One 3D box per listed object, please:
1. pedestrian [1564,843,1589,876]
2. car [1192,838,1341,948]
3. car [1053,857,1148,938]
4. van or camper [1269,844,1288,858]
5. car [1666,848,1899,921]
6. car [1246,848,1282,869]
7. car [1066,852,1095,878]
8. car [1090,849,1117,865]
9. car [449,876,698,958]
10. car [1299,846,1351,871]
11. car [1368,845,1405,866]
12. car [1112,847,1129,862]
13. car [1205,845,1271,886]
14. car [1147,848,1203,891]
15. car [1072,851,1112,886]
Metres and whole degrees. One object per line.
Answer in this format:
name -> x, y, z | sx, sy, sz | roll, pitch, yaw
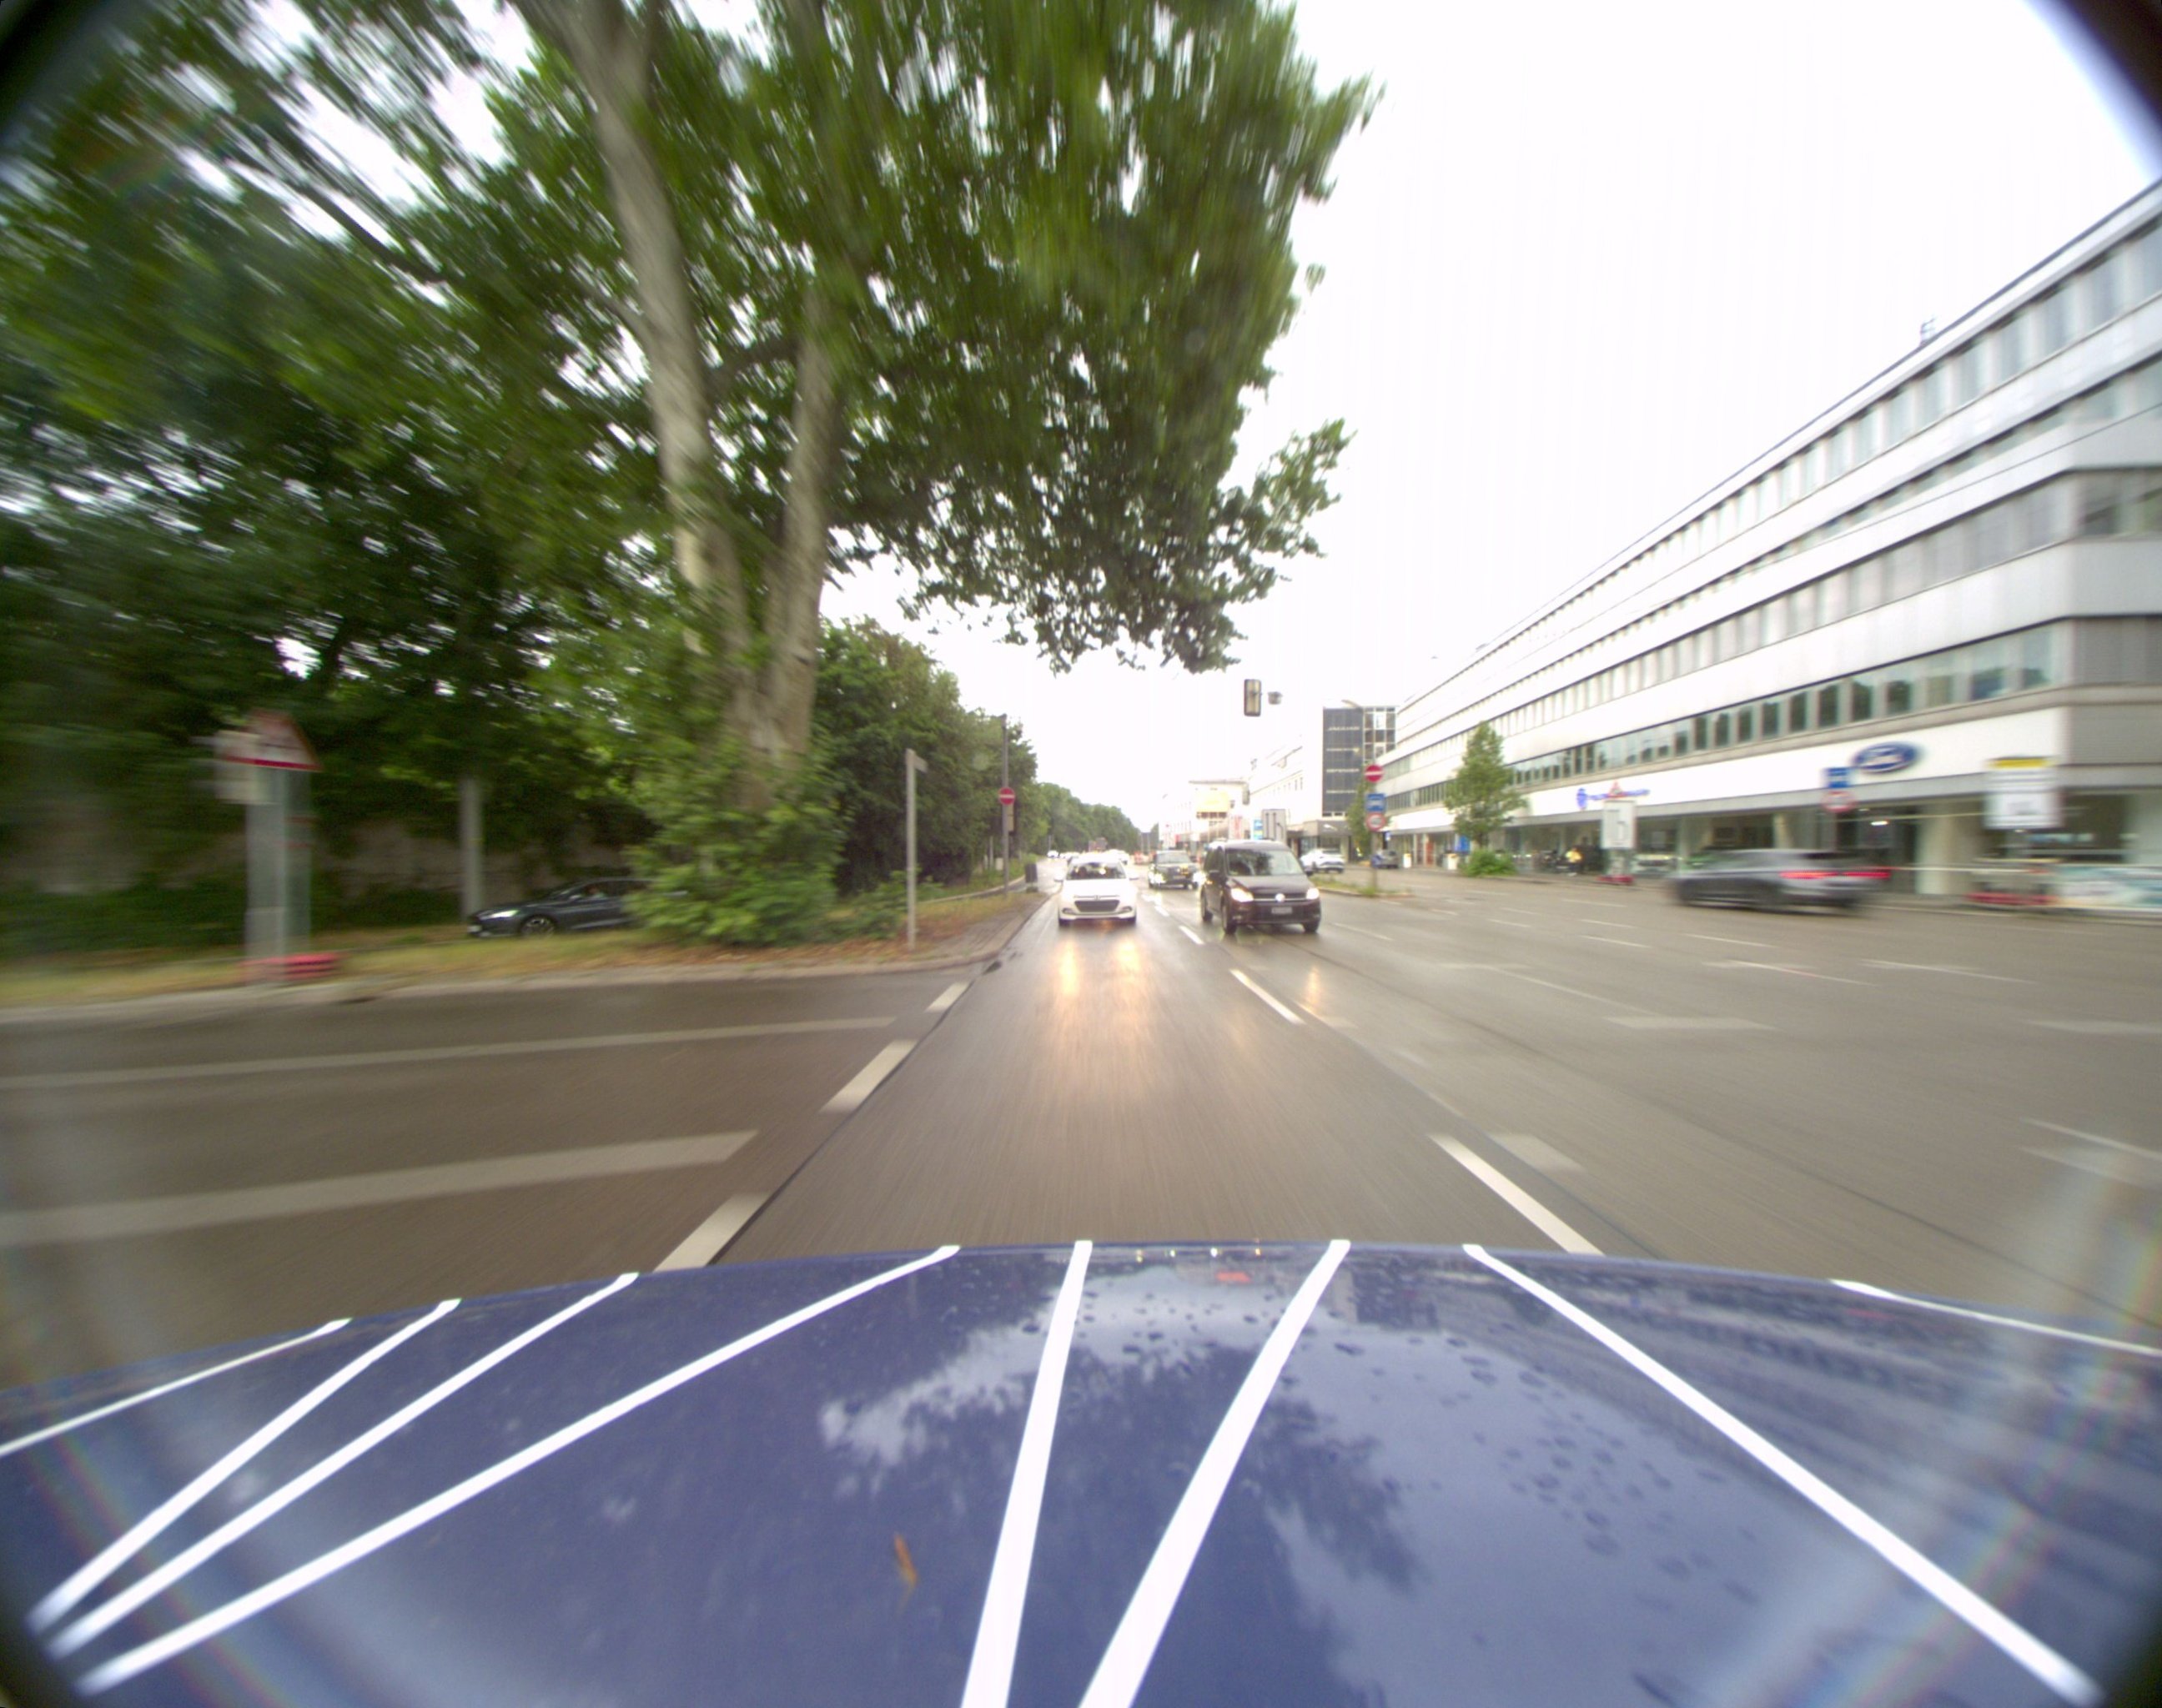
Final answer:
pedestrian -> 26.856, 0.296, 41.203 | 0.761, 1.765, 0.864 | -3, 1, 7
car -> 3.565, 0.659, 15.469 | 1.905, 1.804, 4.430 | -3, 1, 1
car -> 0.402, 0.880, 17.252 | 1.814, 1.444, 4.333 | -3, 1, 1
van or camper -> 28.518, -0.463, 109.700 | 1.928, 1.918, 4.256 | -3, 1, 6
car -> 15.931, 0.609, 17.601 | 1.713, 1.456, 4.041 | -1, 1, 1
car -> 12.756, 0.286, 53.242 | 1.687, 1.428, 3.862 | 0, 1, 1
car -> 0.002, 0.736, 52.596 | 1.814, 1.590, 4.333 | -3, 1, 1
car -> 2.324, 0.300, 78.040 | 1.769, 1.407, 4.337 | -3, 1, 14
car -> -11.657, 1.394, 17.774 | 1.749, 1.395, 4.422 | -4, 0, 36
car -> 16.128, 0.267, 50.447 | 1.895, 1.601, 4.455 | -1, 1, -2
car -> 28.290, 0.095, 70.482 | 1.922, 1.805, 4.166 | -3, 1, 5
car -> 4.540, 0.066, 88.062 | 1.771, 1.628, 4.333 | -3, 1, 1
car -> 6.871, 0.467, 33.739 | 1.814, 1.590, 4.332 | -3, 1, -2
car -> 3.893, 0.591, 32.167 | 1.814, 1.590, 4.333 | -3, 1, 1
car -> 0.544, 0.693, 38.754 | 1.814, 1.590, 4.333 | -3, 1, 1
